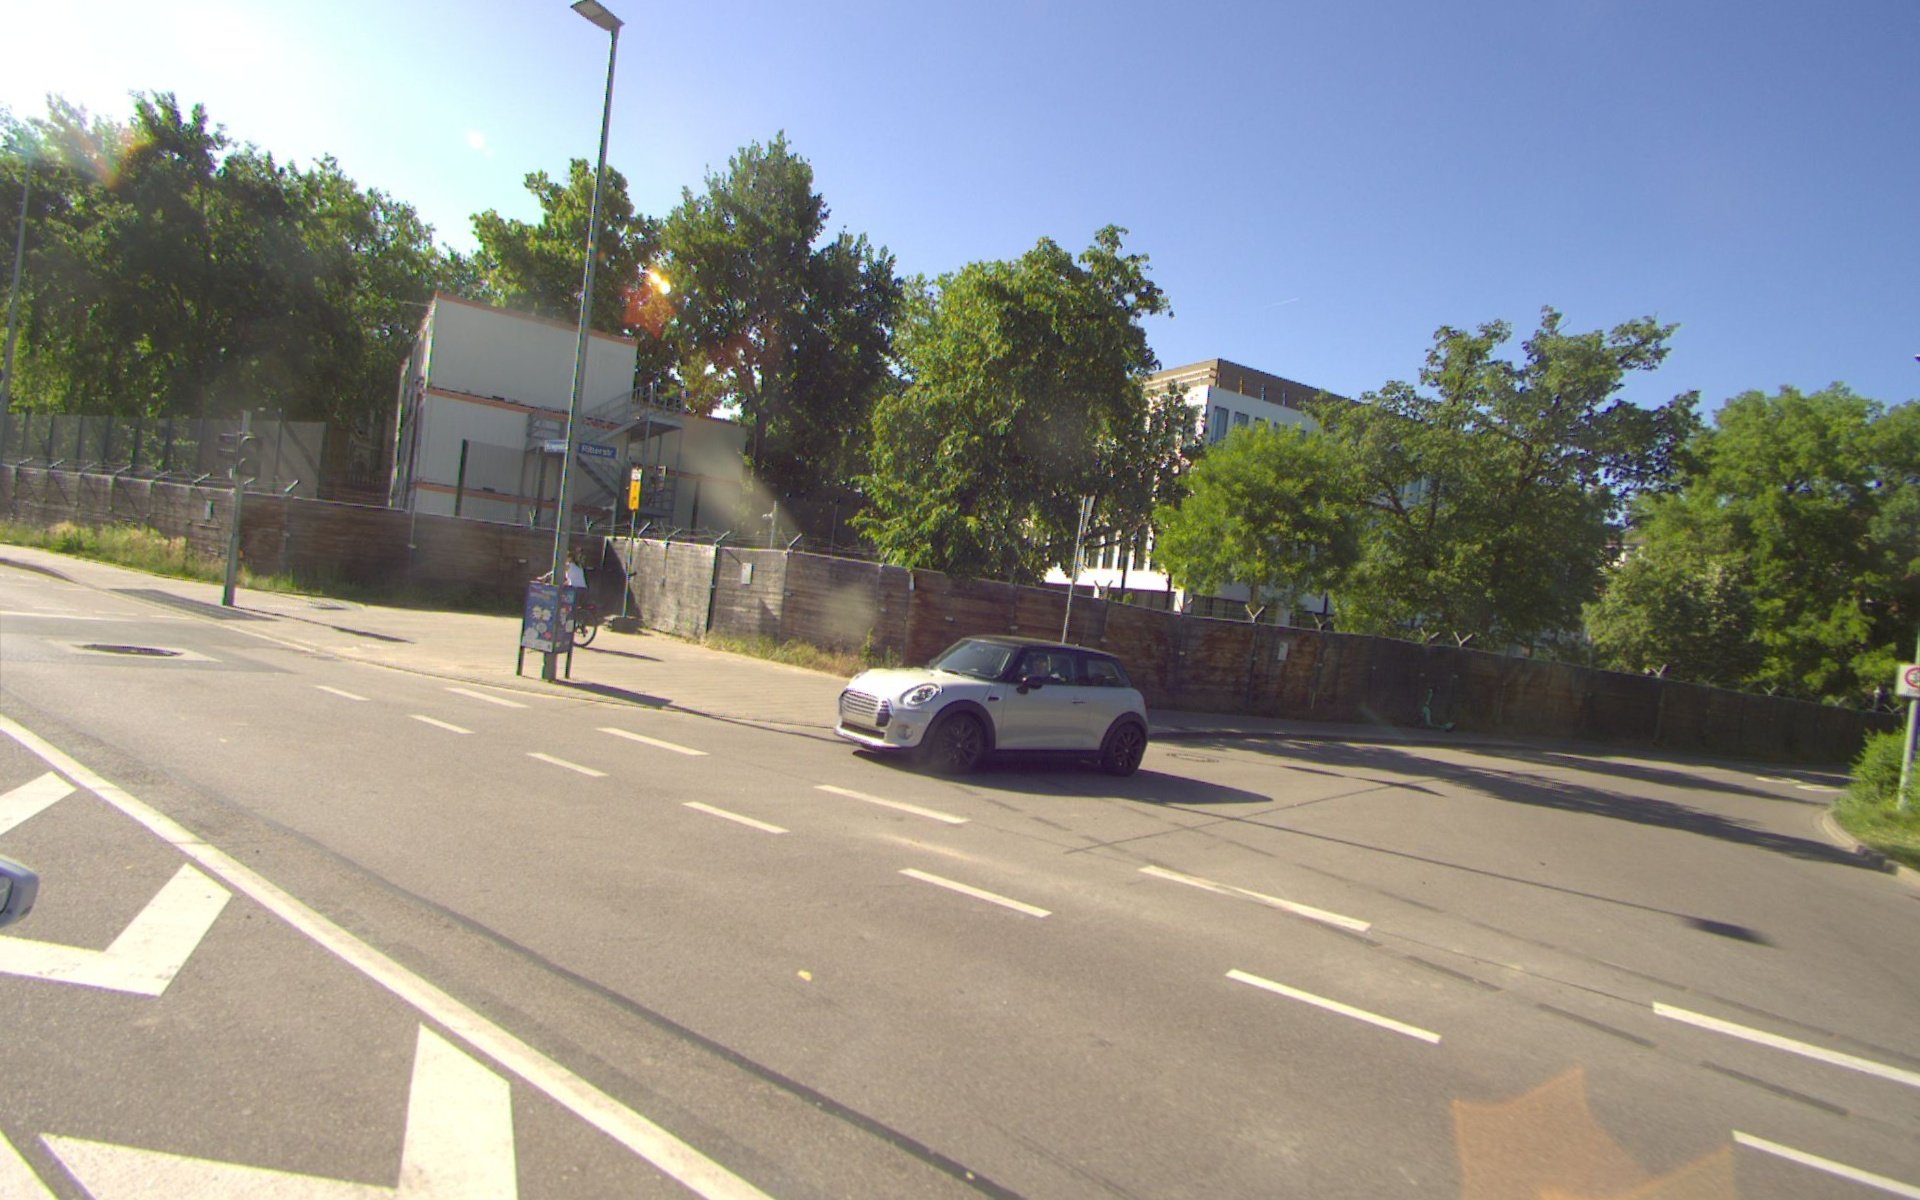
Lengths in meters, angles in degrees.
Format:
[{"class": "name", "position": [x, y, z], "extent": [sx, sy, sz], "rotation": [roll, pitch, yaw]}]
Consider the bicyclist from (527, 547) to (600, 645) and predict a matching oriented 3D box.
[{"class": "bicyclist", "position": [-7.256, -0.064, 18.423], "extent": [0.838, 1.694, 0.742], "rotation": [7, 2, 29]}]

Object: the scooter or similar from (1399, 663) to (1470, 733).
[{"class": "scooter or similar", "position": [12.911, 2.679, 27.347], "extent": [2.057, 1.704, 0.571], "rotation": [8, 0, -33]}]

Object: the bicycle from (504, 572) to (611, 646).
[{"class": "bicycle", "position": [-7.422, 0.162, 18.532], "extent": [2.088, 1.127, 0.602], "rotation": [7, 2, 30]}]

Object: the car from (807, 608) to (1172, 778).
[{"class": "car", "position": [0.413, 1.078, 11.185], "extent": [3.684, 1.453, 1.754], "rotation": [8, -1, -39]}]
